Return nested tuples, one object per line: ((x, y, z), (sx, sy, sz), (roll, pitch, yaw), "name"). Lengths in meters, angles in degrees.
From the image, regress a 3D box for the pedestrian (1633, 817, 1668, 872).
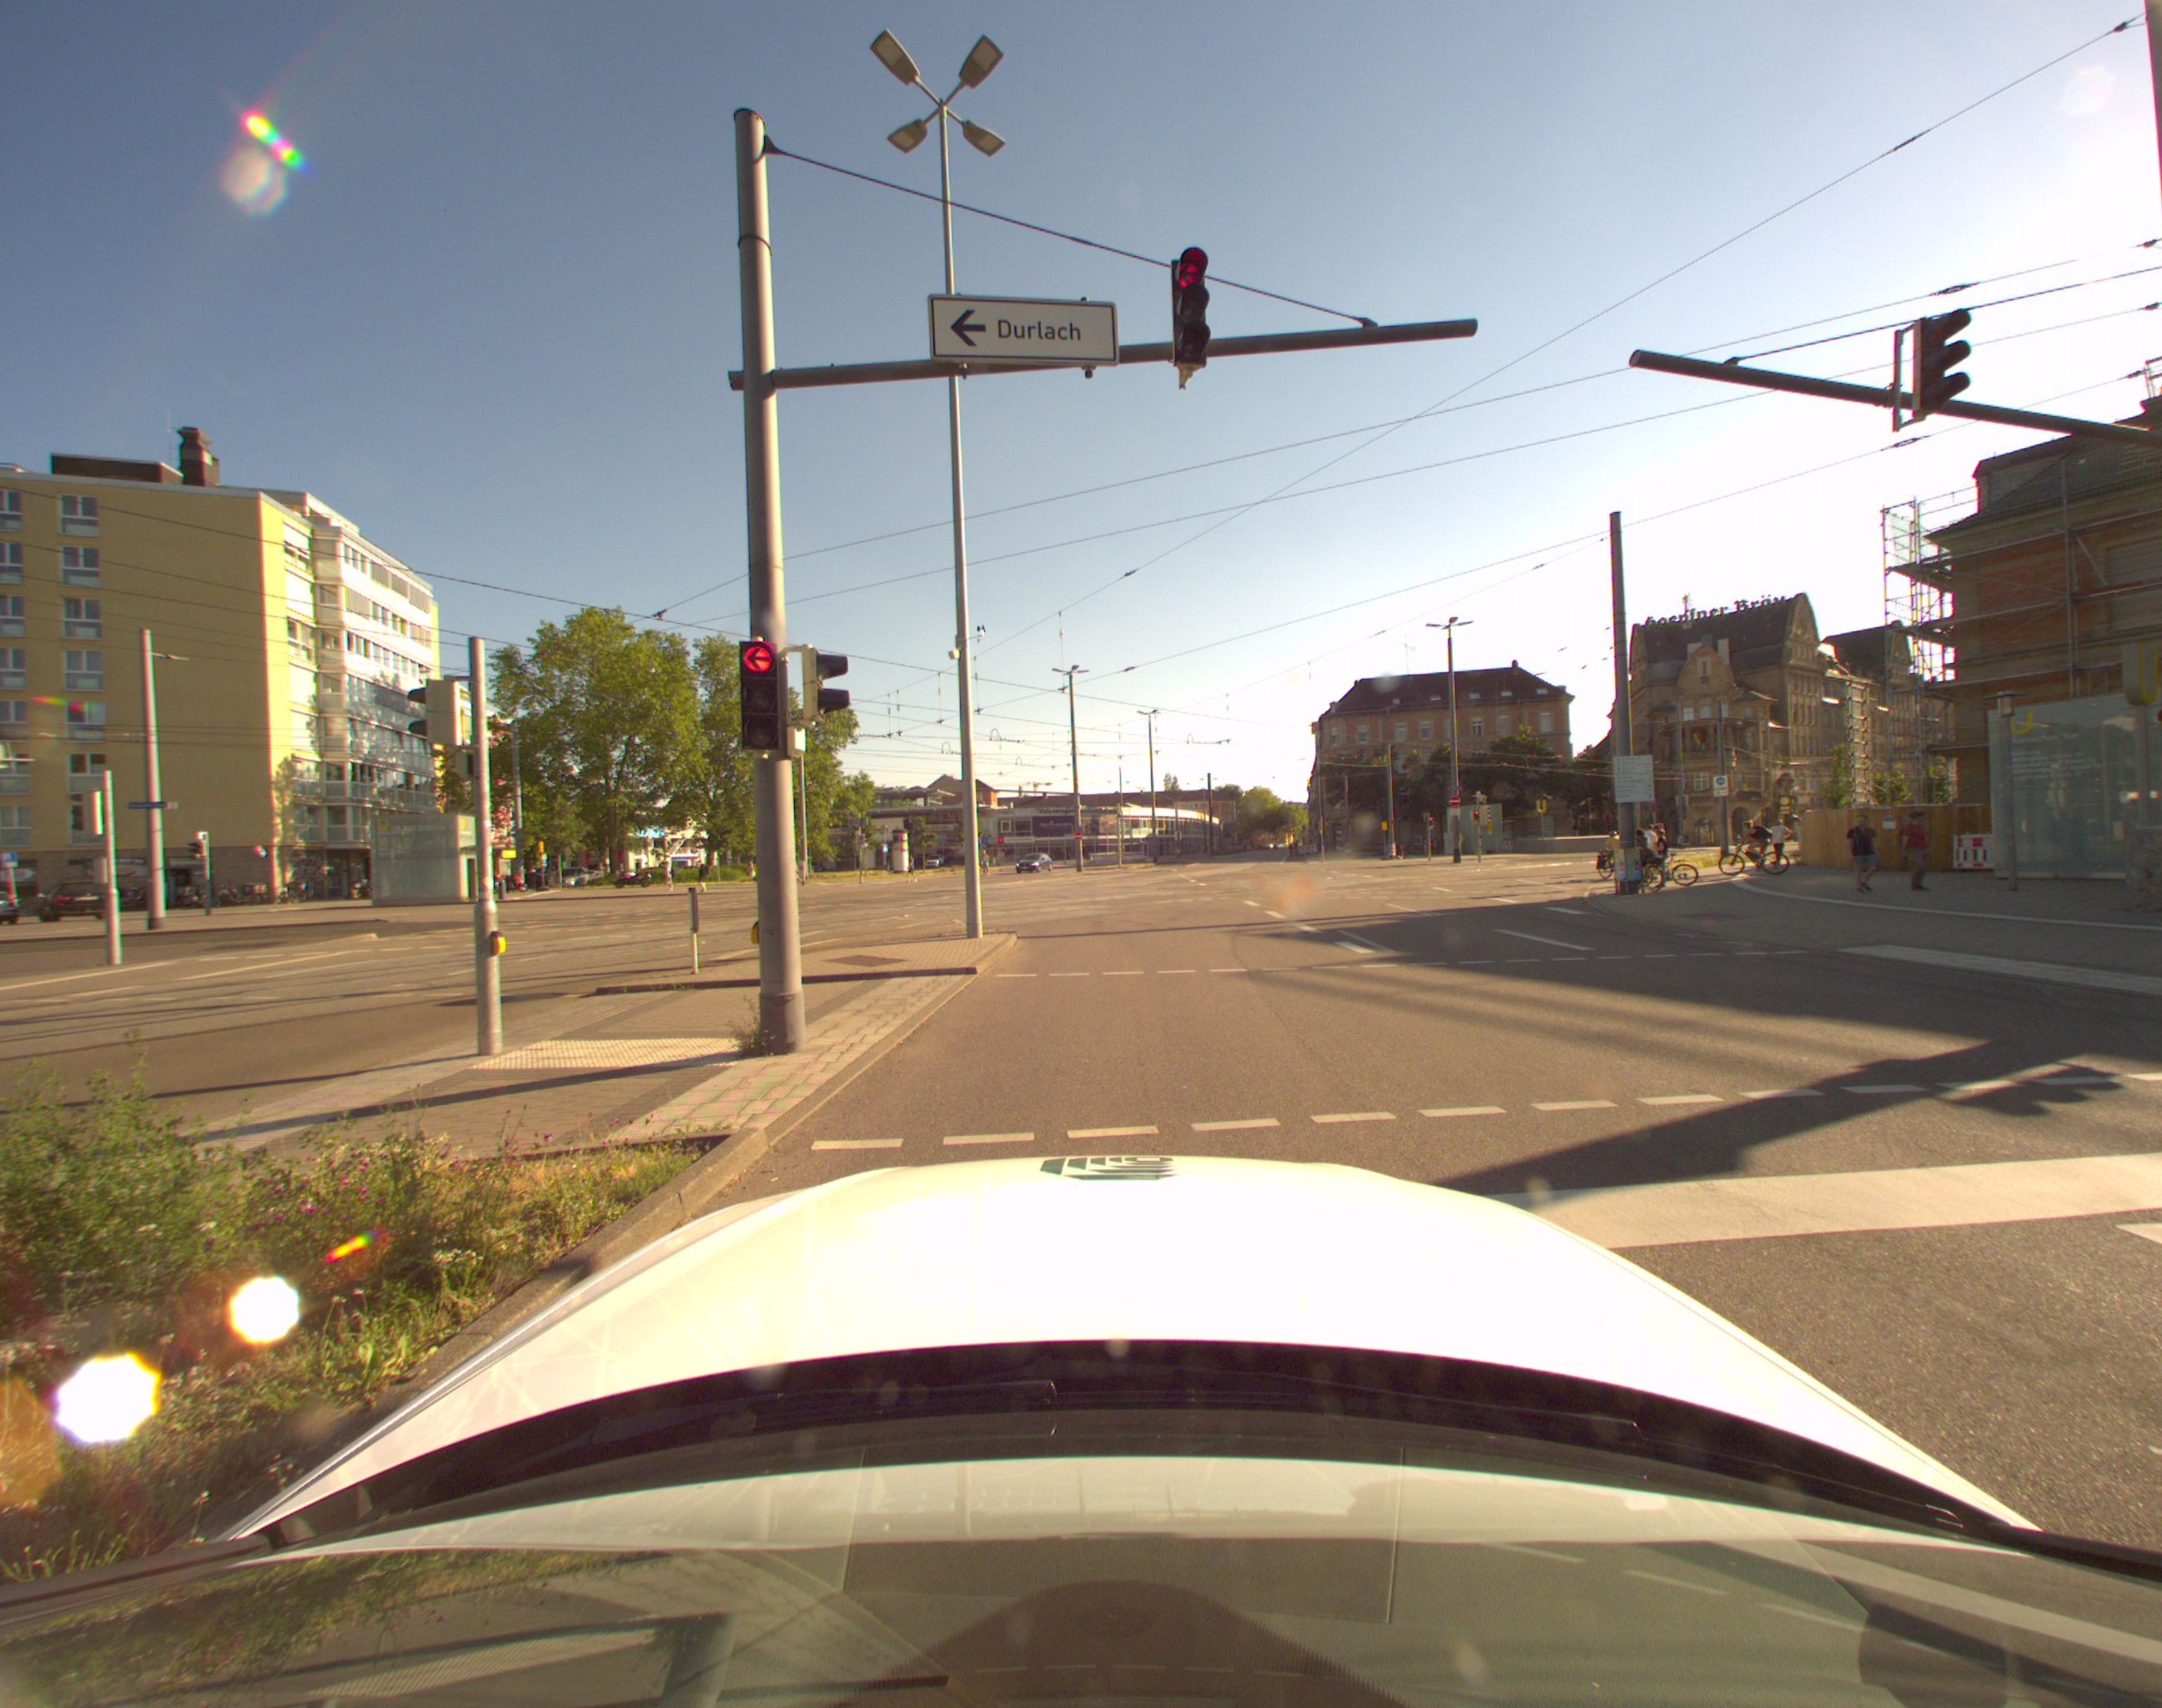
((21.140, -0.349, 30.265), (0.730, 2.014, 0.760), (0, -1, -6), "pedestrian")

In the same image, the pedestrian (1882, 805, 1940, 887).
((18.713, -0.168, 18.376), (0.672, 1.807, 0.680), (0, -1, -19), "pedestrian")

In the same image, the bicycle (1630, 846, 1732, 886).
((17.348, 0.360, 23.635), (2.290, 1.049, 0.705), (-3, -2, 32), "bicycle")

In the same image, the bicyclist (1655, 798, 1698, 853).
((17.301, -0.816, 23.667), (0.935, 1.557, 0.715), (-1, -1, 31), "bicyclist")

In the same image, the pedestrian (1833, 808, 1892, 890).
((17.696, -0.119, 18.452), (0.672, 1.807, 0.680), (-3, 0, -19), "pedestrian")

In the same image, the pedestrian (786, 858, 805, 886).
((-17.412, 1.073, 49.693), (0.790, 1.706, 0.760), (-1, -1, 9), "pedestrian")

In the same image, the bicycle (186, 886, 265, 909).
((-46.442, 2.356, 44.226), (3.041, 1.151, 0.637), (0, -1, -16), "bicycle")

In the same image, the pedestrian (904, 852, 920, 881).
((-11.115, 0.805, 53.436), (0.790, 1.886, 0.760), (-1, -1, 9), "pedestrian")

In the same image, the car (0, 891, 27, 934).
((-47.037, 2.515, 34.923), (3.948, 1.706, 2.013), (-1, -1, 35), "car")

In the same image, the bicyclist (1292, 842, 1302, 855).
((25.340, -0.647, 95.448), (0.775, 1.577, 0.755), (0, -1, -26), "bicyclist")

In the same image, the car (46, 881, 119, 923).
((-44.164, 2.072, 36.008), (3.948, 1.706, 1.730), (-1, -1, 35), "car")

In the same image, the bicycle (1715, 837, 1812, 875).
((21.905, 0.074, 26.191), (2.290, 1.049, 0.539), (-5, -1, 36), "bicycle")

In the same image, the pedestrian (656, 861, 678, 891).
((-23.932, 1.288, 47.080), (0.790, 1.706, 0.760), (-1, -1, 9), "pedestrian")

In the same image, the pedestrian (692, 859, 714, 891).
((-20.285, 1.100, 43.721), (0.790, 1.706, 0.760), (-1, -1, 9), "pedestrian")

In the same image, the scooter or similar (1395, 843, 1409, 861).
((24.787, -0.177, 62.896), (0.780, 1.376, 1.916), (-1, -1, 16), "scooter or similar")

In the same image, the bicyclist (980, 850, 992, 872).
((-7.002, 0.547, 60.205), (0.593, 1.615, 0.826), (-1, -1, 19), "bicyclist")

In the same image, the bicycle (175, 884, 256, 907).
((-46.274, 2.202, 43.584), (3.041, 1.151, 0.637), (0, -1, -16), "bicycle")

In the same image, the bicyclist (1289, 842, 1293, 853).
((21.688, -0.686, 83.954), (0.405, 1.116, 0.400), (-1, -1, 13), "bicyclist")

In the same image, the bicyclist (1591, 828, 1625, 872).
((19.076, -0.138, 29.492), (0.514, 1.557, 0.945), (0, -1, -6), "bicyclist")

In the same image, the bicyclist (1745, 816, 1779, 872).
((21.894, -0.313, 26.200), (0.785, 1.779, 0.526), (-1, -1, 37), "bicyclist")

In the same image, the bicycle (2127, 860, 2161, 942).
((13.731, 0.574, 9.352), (0.657, 0.963, 2.030), (-5, 0, -6), "bicycle")

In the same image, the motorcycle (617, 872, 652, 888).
((-27.264, 1.577, 49.762), (1.779, 0.914, 0.675), (0, -1, -19), "motorcycle")

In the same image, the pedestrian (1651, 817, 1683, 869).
((21.930, -0.395, 30.489), (0.646, 1.922, 0.689), (0, -1, -6), "pedestrian")

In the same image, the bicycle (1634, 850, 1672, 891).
((15.935, 0.427, 22.721), (0.692, 1.049, 2.335), (0, 1, 31), "bicycle")

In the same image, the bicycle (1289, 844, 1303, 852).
((25.231, -0.738, 95.597), (0.660, 0.952, 1.586), (0, -1, -26), "bicycle")

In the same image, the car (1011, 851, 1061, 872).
((-3.375, 0.563, 61.922), (1.975, 1.585, 4.024), (-1, -1, 29), "car")

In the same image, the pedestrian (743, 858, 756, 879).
((-26.947, 1.153, 66.119), (0.854, 1.694, 0.497), (0, -1, -1), "pedestrian")

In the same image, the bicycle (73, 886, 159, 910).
((-50.339, 2.282, 42.517), (3.041, 1.151, 0.637), (0, -1, -16), "bicycle")

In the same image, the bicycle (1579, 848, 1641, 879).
((19.088, 0.326, 29.429), (0.533, 1.049, 2.315), (0, 1, -6), "bicycle")

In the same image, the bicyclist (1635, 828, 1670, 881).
((15.907, 0.021, 22.700), (0.701, 1.439, 0.953), (-1, -1, 30), "bicyclist")

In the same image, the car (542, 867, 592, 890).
((-37.307, 1.720, 59.244), (1.772, 1.567, 3.983), (0, -1, -12), "car")

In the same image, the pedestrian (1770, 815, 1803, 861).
((27.709, -0.620, 31.985), (0.646, 1.814, 0.689), (0, -1, -6), "pedestrian")

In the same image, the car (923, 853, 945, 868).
((-18.040, 0.812, 99.962), (1.988, 1.750, 3.997), (0, -1, -1), "car")

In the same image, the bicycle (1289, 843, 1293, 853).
((21.663, -0.599, 83.857), (0.407, 0.941, 1.852), (-1, -1, 15), "bicycle")

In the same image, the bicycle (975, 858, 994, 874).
((-7.085, 0.856, 59.972), (0.607, 1.189, 1.878), (-1, -1, 19), "bicycle")

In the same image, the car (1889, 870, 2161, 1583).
((2.903, 0.728, 0.150), (1.617, 1.404, 4.001), (0, -1, 2), "car")
